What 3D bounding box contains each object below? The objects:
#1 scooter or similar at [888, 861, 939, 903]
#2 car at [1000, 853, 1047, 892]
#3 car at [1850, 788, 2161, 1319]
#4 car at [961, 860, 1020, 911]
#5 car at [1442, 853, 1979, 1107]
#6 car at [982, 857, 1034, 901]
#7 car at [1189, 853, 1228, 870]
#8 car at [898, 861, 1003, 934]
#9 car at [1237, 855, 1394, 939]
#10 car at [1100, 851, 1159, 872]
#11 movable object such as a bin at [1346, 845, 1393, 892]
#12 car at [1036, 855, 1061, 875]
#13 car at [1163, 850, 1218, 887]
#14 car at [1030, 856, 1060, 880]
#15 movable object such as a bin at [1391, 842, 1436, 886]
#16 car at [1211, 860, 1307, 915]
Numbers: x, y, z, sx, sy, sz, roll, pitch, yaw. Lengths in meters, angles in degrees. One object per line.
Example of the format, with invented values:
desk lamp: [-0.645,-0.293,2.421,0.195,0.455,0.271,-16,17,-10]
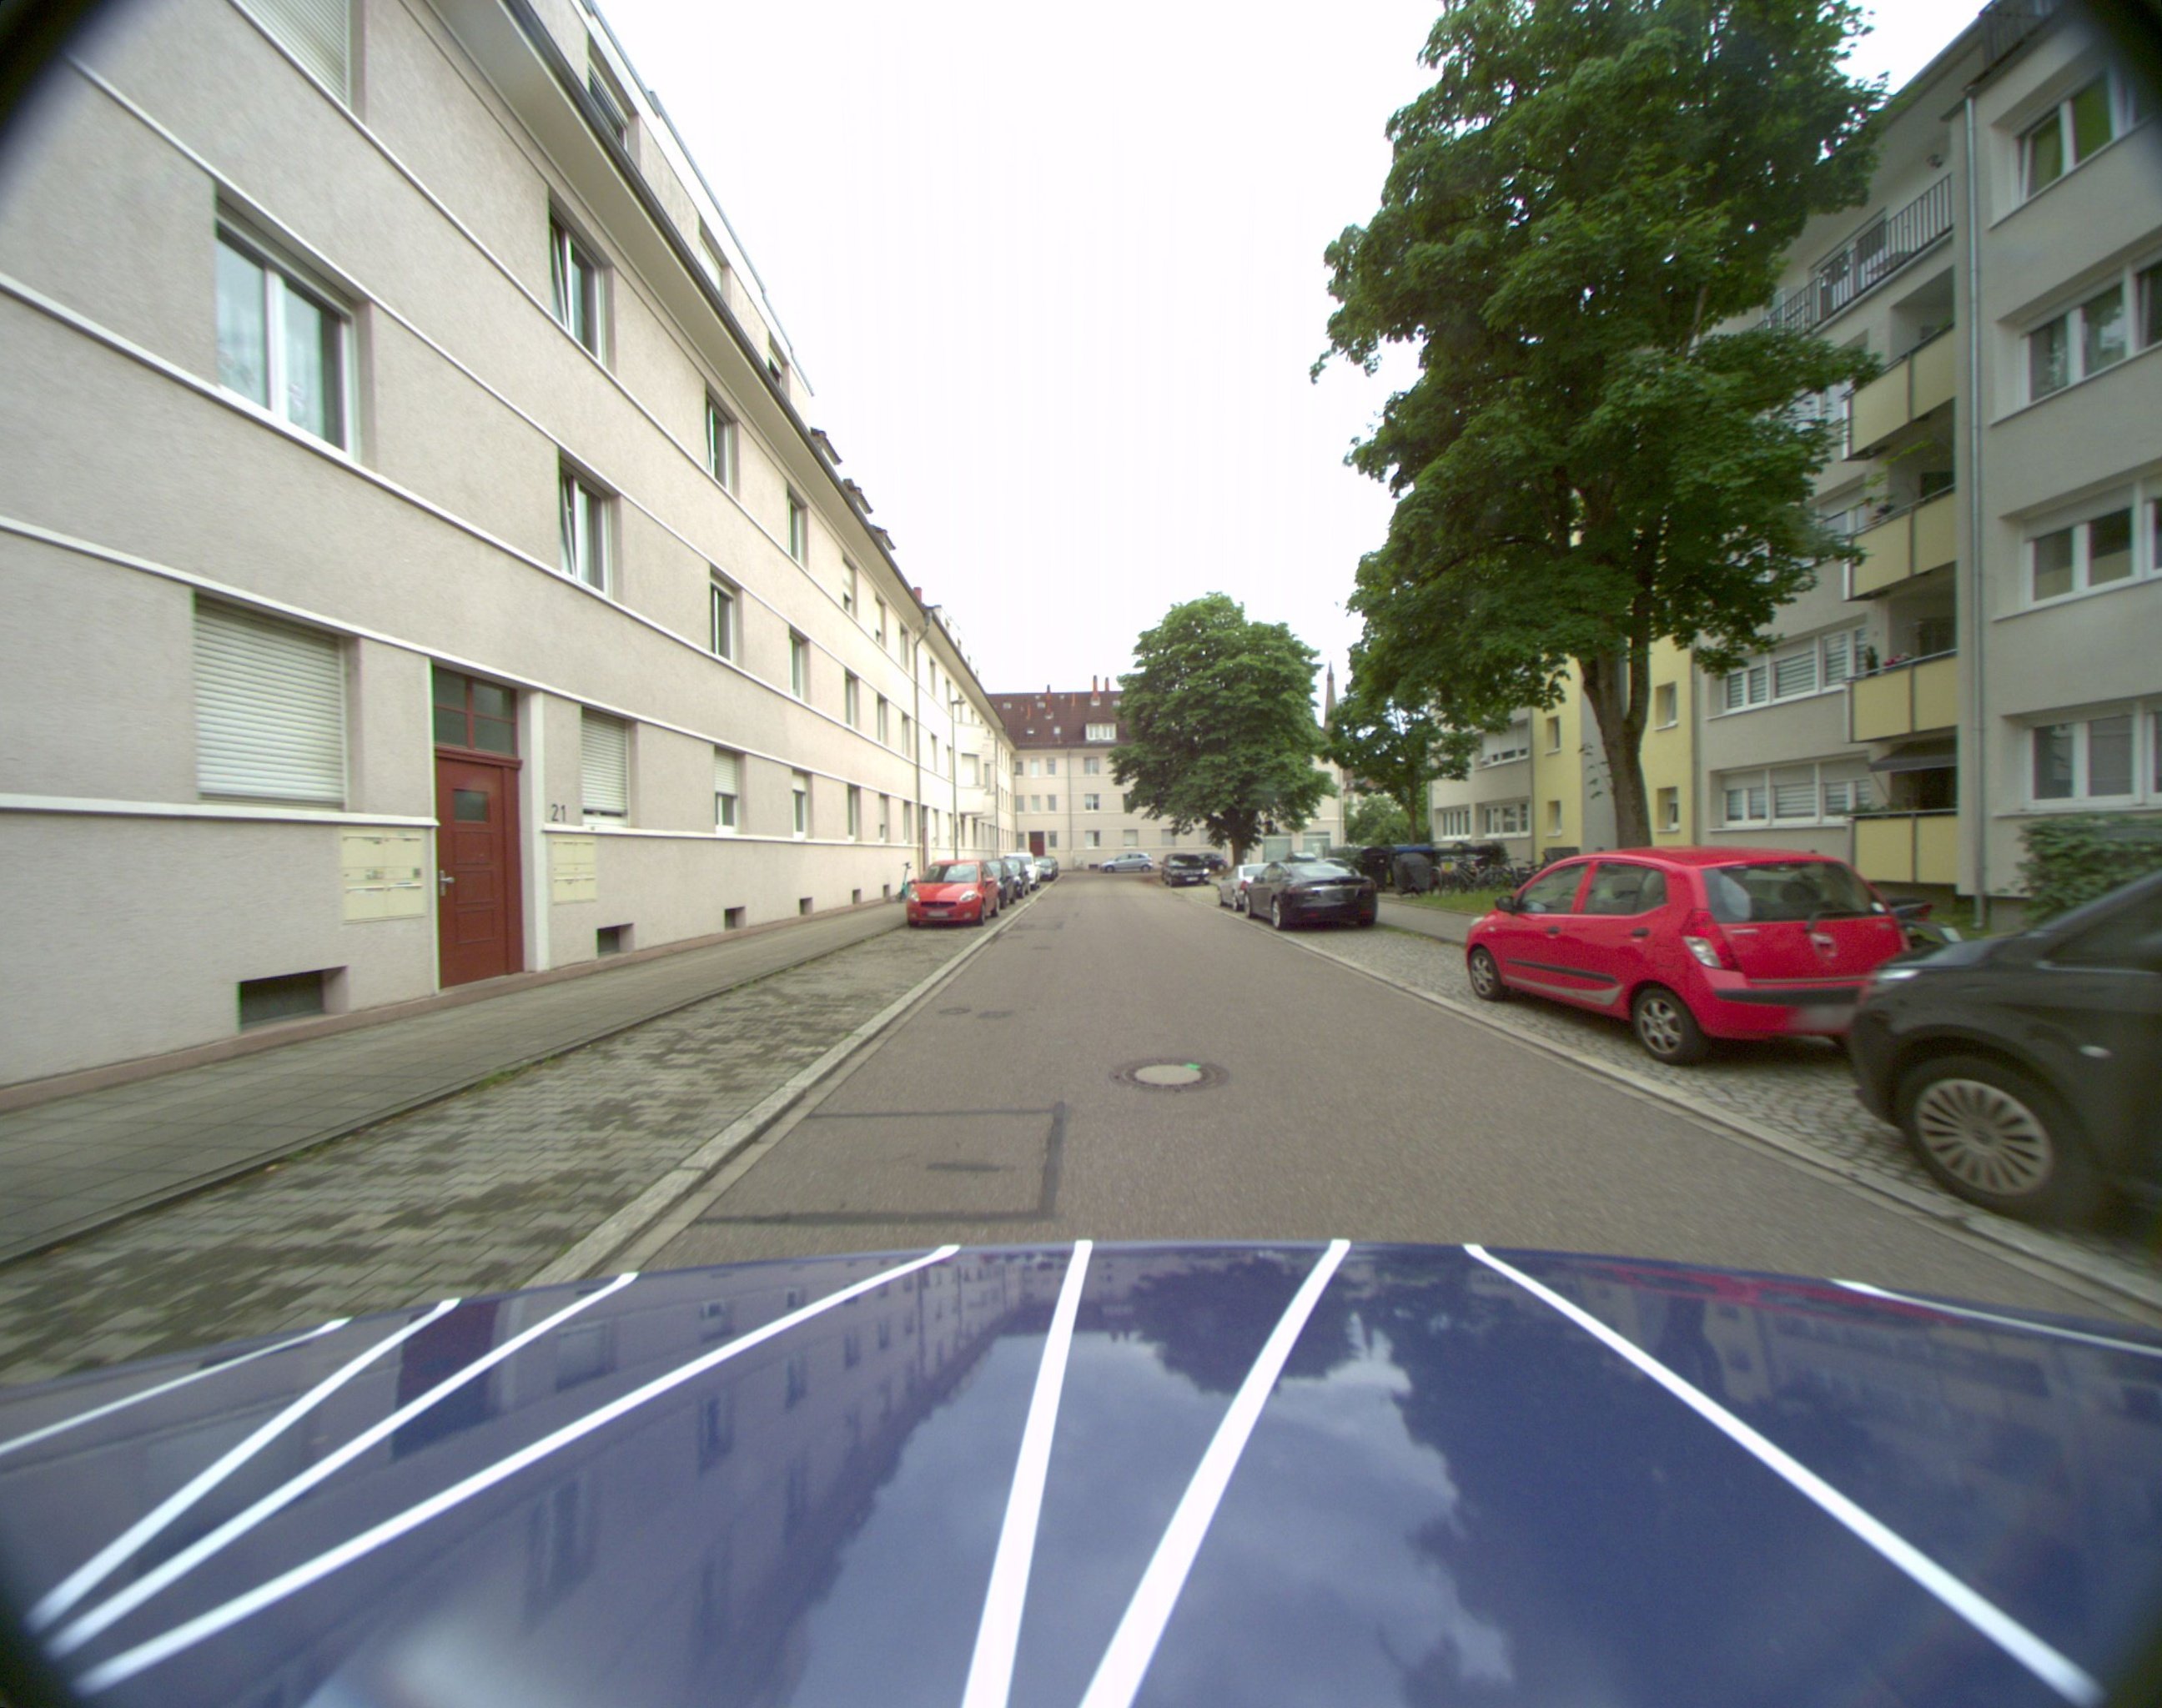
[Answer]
scooter or similar: [-5.196,0.857,23.678,0.650,1.226,1.473,0,1,37]
car: [-2.552,0.784,34.362,1.764,1.595,3.956,-1,0,1]
car: [4.682,0.678,1.292,1.891,1.844,4.785,-1,0,0]
car: [-2.740,0.924,23.566,1.353,1.404,3.309,-1,0,1]
car: [4.825,0.787,6.585,1.625,1.559,3.613,-1,0,-1]
car: [-2.708,0.897,28.871,1.587,1.500,3.486,-1,0,1]
car: [9.966,0.596,59.548,2.930,1.277,1.353,-1,1,4]
car: [-2.934,0.929,17.824,1.758,1.477,3.773,0,0,1]
car: [4.846,0.813,16.447,1.919,1.431,4.433,-3,0,-1]
car: [3.821,0.563,59.583,4.545,1.551,1.565,-1,1,5]
movable object such as a bin: [9.166,0.453,24.193,1.184,1.468,0.889,-1,1,4]
car: [-2.247,0.726,53.214,1.563,1.334,3.788,-1,0,1]
car: [5.202,0.637,36.622,2.000,1.566,4.209,-3,0,1]
car: [-2.113,0.804,45.264,1.563,1.334,3.788,-1,0,1]
movable object such as a bin: [11.497,0.333,26.315,1.184,1.468,0.889,-1,1,4]
car: [4.976,0.886,21.812,1.765,1.257,4.209,-3,0,1]
